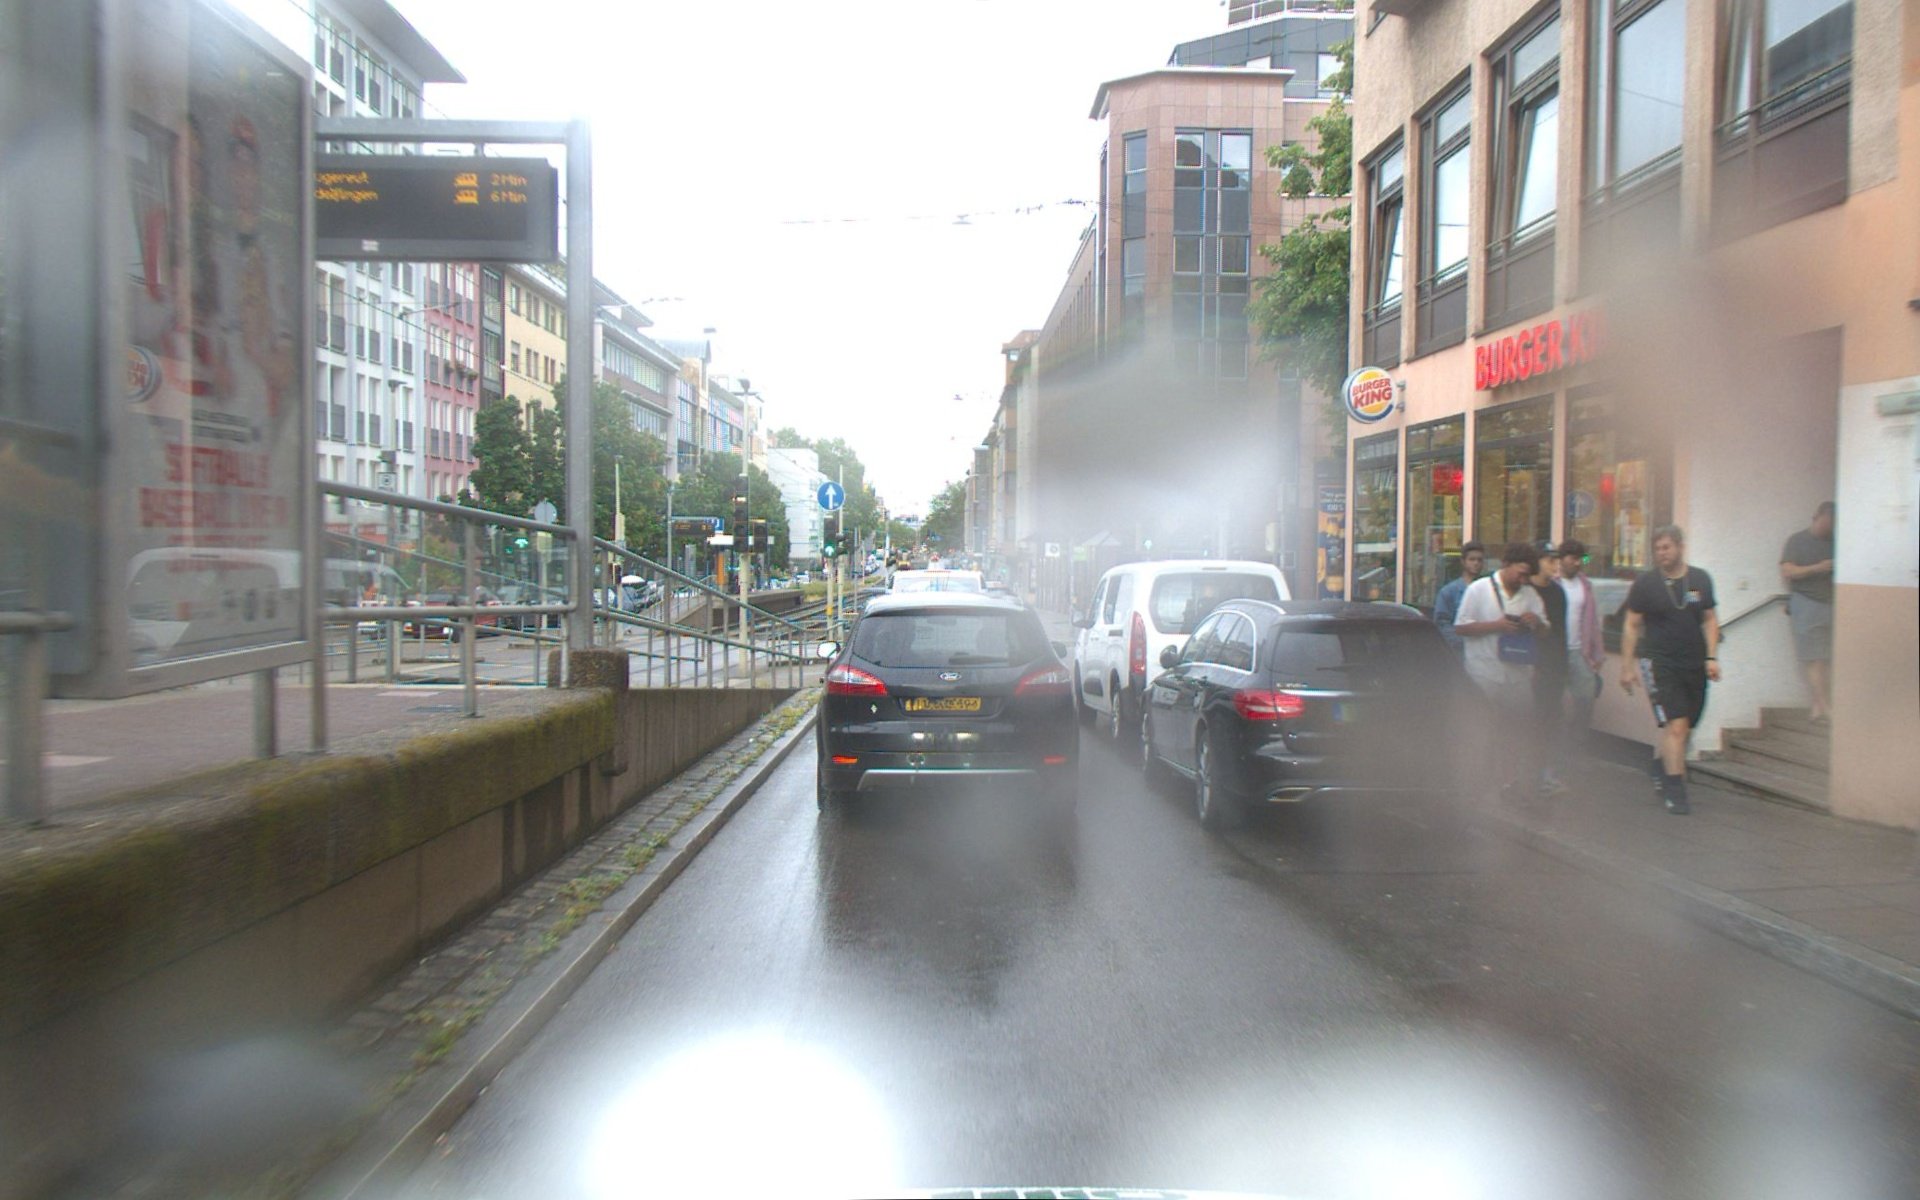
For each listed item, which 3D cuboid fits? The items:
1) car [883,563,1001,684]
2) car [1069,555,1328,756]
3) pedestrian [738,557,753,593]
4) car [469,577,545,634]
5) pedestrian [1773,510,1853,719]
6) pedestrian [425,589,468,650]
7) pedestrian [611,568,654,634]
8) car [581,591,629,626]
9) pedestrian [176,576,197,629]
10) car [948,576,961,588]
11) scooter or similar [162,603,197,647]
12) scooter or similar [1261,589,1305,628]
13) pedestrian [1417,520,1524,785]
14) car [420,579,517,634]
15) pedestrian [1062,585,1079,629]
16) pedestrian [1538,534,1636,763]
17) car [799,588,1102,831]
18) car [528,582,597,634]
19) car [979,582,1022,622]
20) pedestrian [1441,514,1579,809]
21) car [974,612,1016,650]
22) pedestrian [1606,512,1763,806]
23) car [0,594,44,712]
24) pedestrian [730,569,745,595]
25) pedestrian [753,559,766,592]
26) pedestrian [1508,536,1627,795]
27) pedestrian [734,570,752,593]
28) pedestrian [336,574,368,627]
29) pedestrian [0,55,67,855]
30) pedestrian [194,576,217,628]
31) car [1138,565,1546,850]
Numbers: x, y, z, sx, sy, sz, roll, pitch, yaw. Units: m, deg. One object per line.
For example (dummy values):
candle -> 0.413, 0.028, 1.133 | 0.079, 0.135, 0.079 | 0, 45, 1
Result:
car -> -0.298, 0.364, 28.403 | 1.867, 1.897, 4.573 | 0, 0, 0
car -> 2.353, 0.501, 17.577 | 1.868, 1.838, 4.775 | 0, 0, -3
pedestrian -> -10.379, -1.197, 79.877 | 0.642, 1.741, 0.849 | 0, 0, -3
car -> -15.921, 0.161, 58.348 | 1.673, 1.890, 4.318 | -1, 1, -3
pedestrian -> 6.138, 0.102, 11.908 | 0.351, 1.479, 0.372 | -1, 0, -4
pedestrian -> -14.671, 0.553, 47.253 | 0.862, 1.660, 0.807 | 1, 3, 25
pedestrian -> -10.462, 0.031, 52.893 | 1.093, 2.049, 1.383 | -1, 0, -1
car -> -15.676, 0.360, 73.180 | 1.537, 1.461, 3.976 | -1, 1, -4
pedestrian -> -24.592, 0.081, 52.596 | 0.571, 1.660, 0.606 | 1, 0, -27
car -> -0.811, -2.619, 237.478 | 1.867, 1.662, 4.574 | 0, 0, 0
scooter or similar -> -22.003, 0.691, 46.638 | 0.381, 1.212, 1.212 | -1, 0, 0
scooter or similar -> 10.437, 0.264, 53.388 | 1.345, 1.248, 0.325 | -1, 0, 2
pedestrian -> 3.904, 0.392, 12.671 | 0.638, 1.982, 0.533 | -1, 0, 0
car -> -15.641, 0.173, 52.887 | 1.690, 1.640, 4.553 | 0, 1, 0
pedestrian -> 4.355, 0.274, 65.089 | 0.589, 1.688, 0.625 | -1, 0, -1
pedestrian -> 4.895, 0.372, 12.932 | 0.564, 1.744, 0.477 | -1, 0, 0
car -> -0.069, 0.671, 11.922 | 1.867, 1.488, 3.444 | 0, 0, 0
car -> -15.118, 0.277, 63.080 | 1.766, 1.890, 4.378 | -1, 1, -3
car -> 1.608, 0.078, 66.729 | 1.664, 1.505, 3.867 | -2, 0, 1
pedestrian -> 3.634, 0.396, 10.961 | 0.681, 1.887, 0.652 | -1, 0, 0
car -> 1.472, 1.311, 70.859 | 1.664, 1.487, 3.867 | -2, 0, 0
pedestrian -> 4.696, 0.372, 10.751 | 0.740, 1.851, 0.588 | -1, 0, 0
car -> -12.842, 0.673, 19.638 | 1.658, 1.488, 4.527 | 0, 0, -4
pedestrian -> -11.078, -0.900, 82.400 | 0.679, 1.271, 0.884 | 0, 0, -3
pedestrian -> -11.341, -1.401, 93.669 | 0.642, 1.833, 0.849 | 0, 0, -3
pedestrian -> 4.216, 0.443, 11.505 | 0.598, 1.744, 0.581 | -1, 0, 0
pedestrian -> -11.103, -0.944, 84.684 | 0.876, 1.143, 0.847 | -1, 1, -12
pedestrian -> -20.171, 0.017, 54.883 | 0.804, 1.727, 0.984 | 1, 0, -9
pedestrian -> -2.178, -0.286, 3.159 | 0.572, 1.585, 0.700 | -1, 0, -3
pedestrian -> -23.985, 0.065, 52.563 | 0.539, 1.660, 0.567 | 1, 0, -37
car -> 2.453, 0.616, 11.798 | 1.867, 1.644, 4.413 | 0, 0, 0
